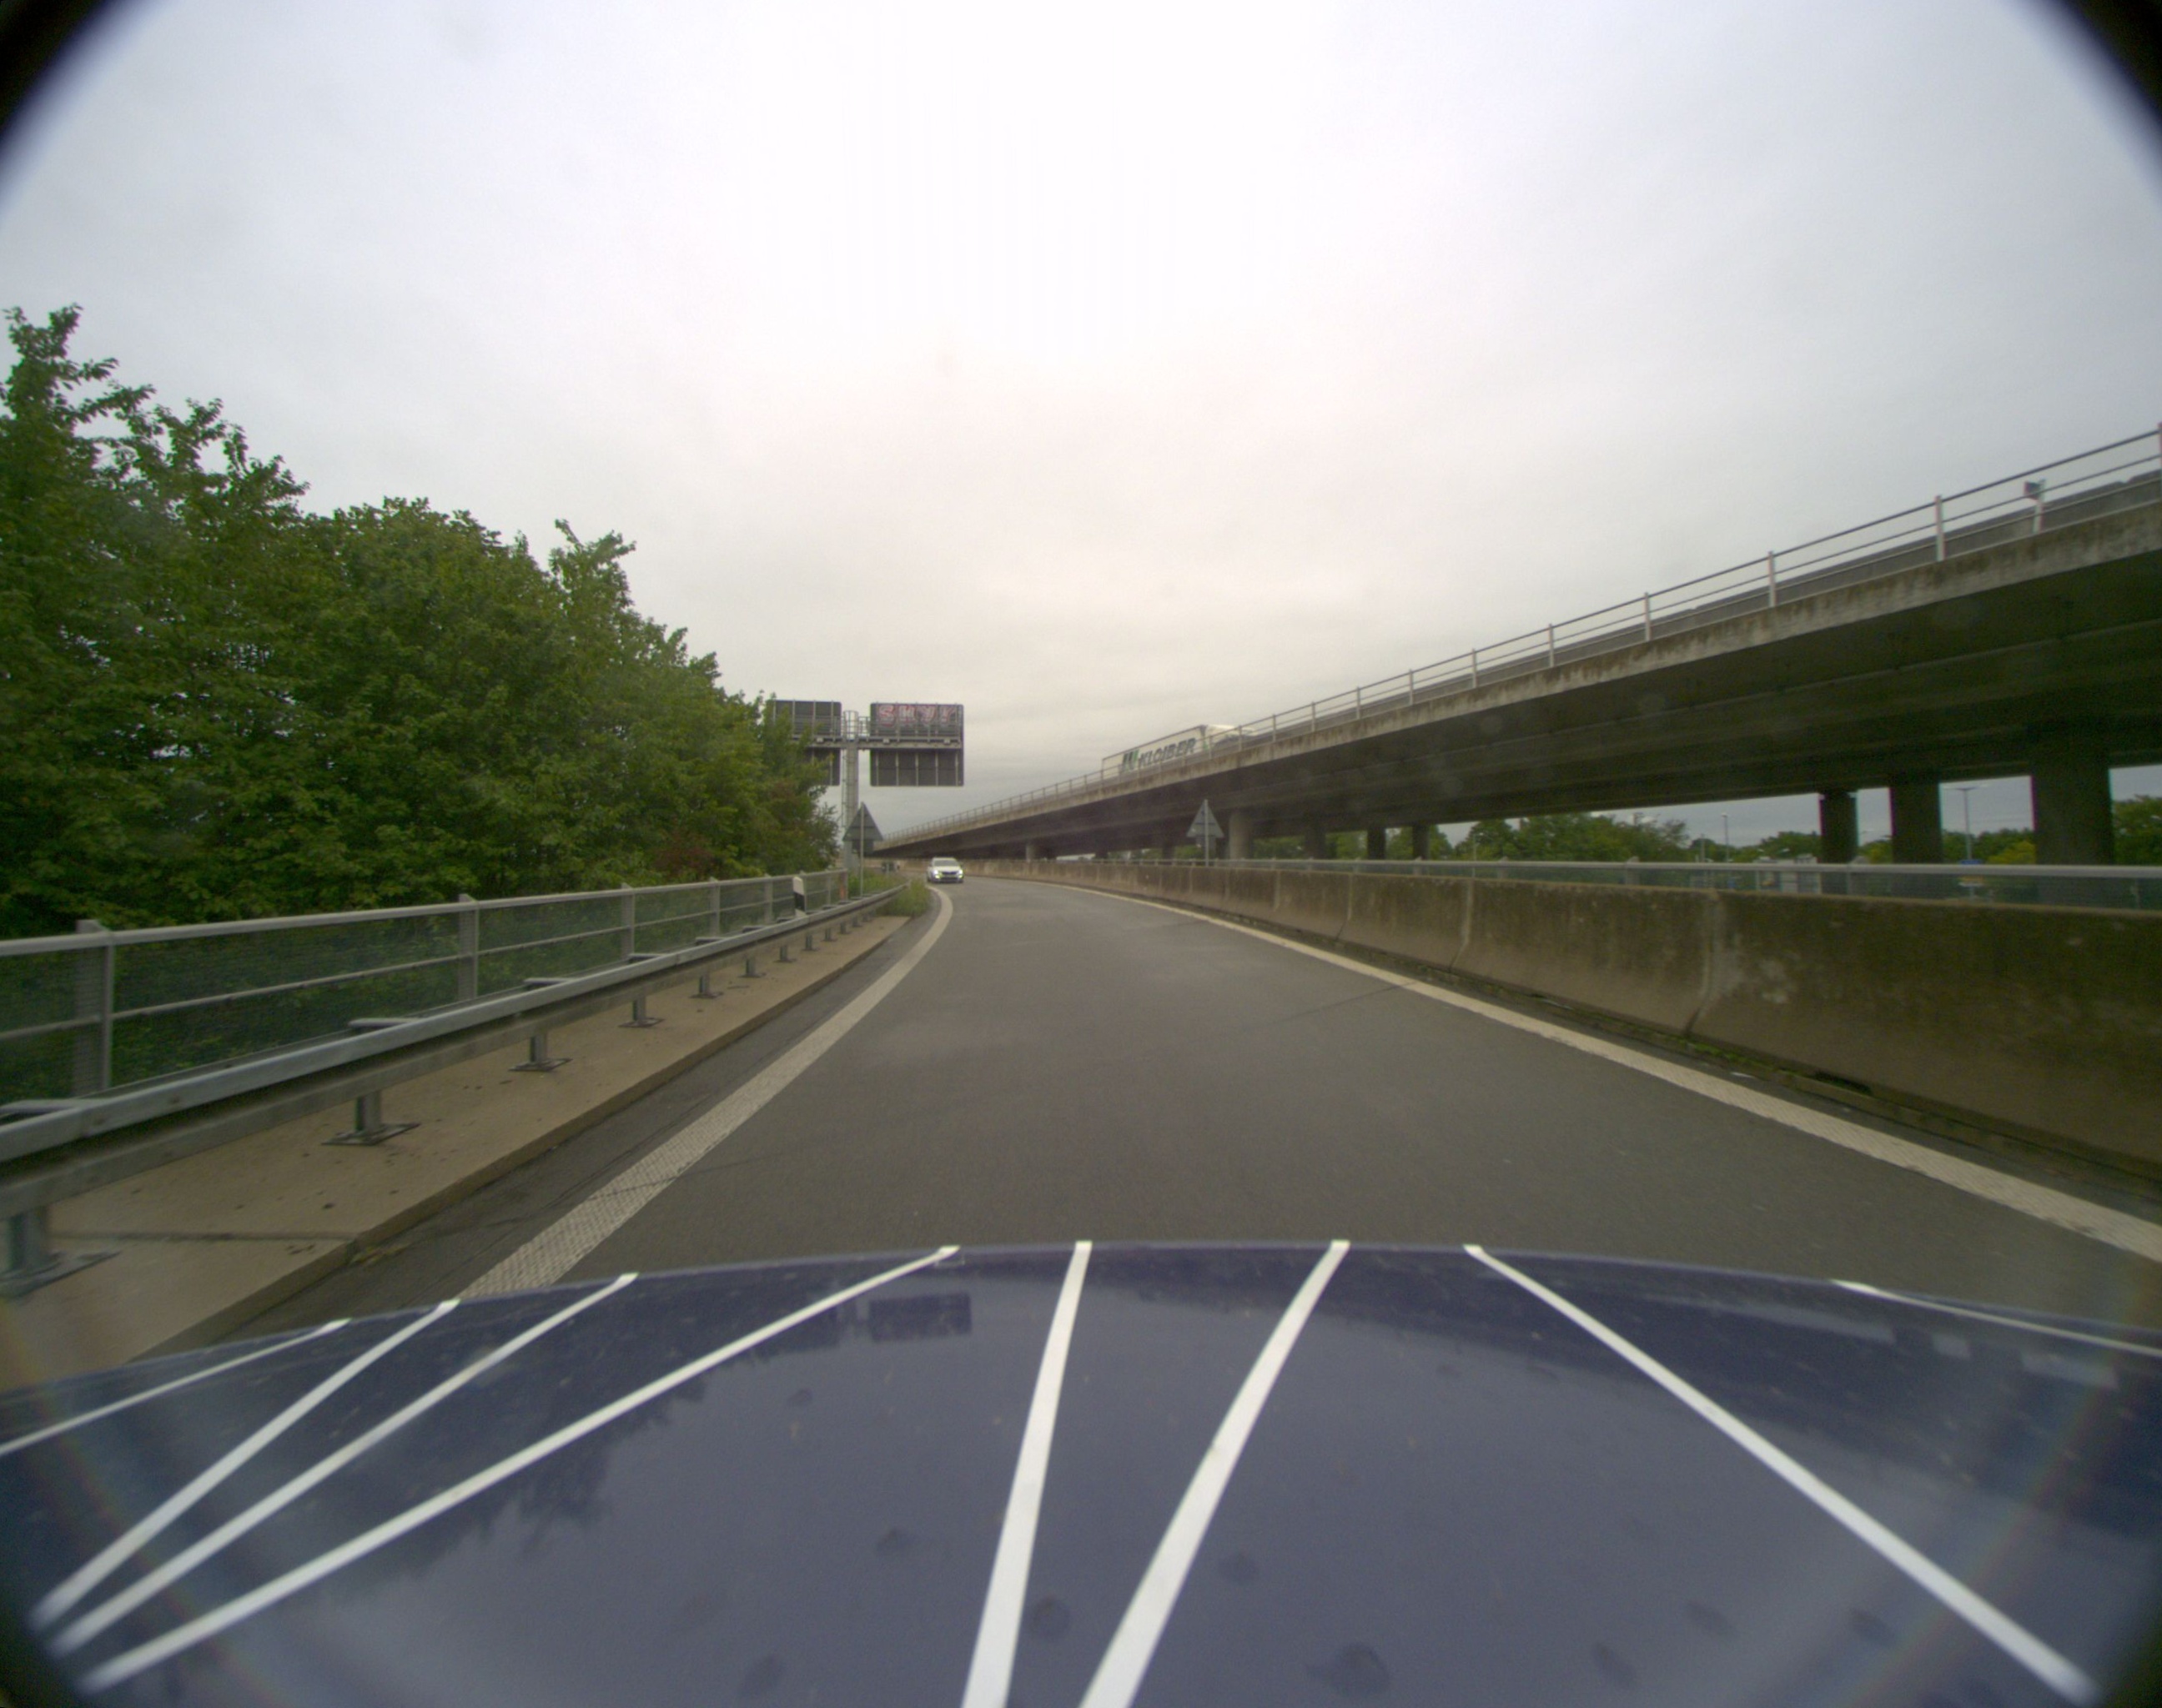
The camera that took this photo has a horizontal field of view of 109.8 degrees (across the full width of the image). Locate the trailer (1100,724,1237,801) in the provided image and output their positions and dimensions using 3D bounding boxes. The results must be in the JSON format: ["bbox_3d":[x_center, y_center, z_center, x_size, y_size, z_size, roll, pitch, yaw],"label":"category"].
[{"bbox_3d":[5.579,-6.043,53.057,2.669,3.278,14.036,-1,-1,-24],"label":"trailer"}]

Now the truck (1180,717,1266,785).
[{"bbox_3d":[8.553,-6.169,46.393,2.600,3.226,5.186,-1,-2,-24],"label":"truck"}]

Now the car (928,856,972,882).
[{"bbox_3d":[-7.790,0.847,44.819,1.917,1.439,4.549,-1,0,-18],"label":"car"}]
